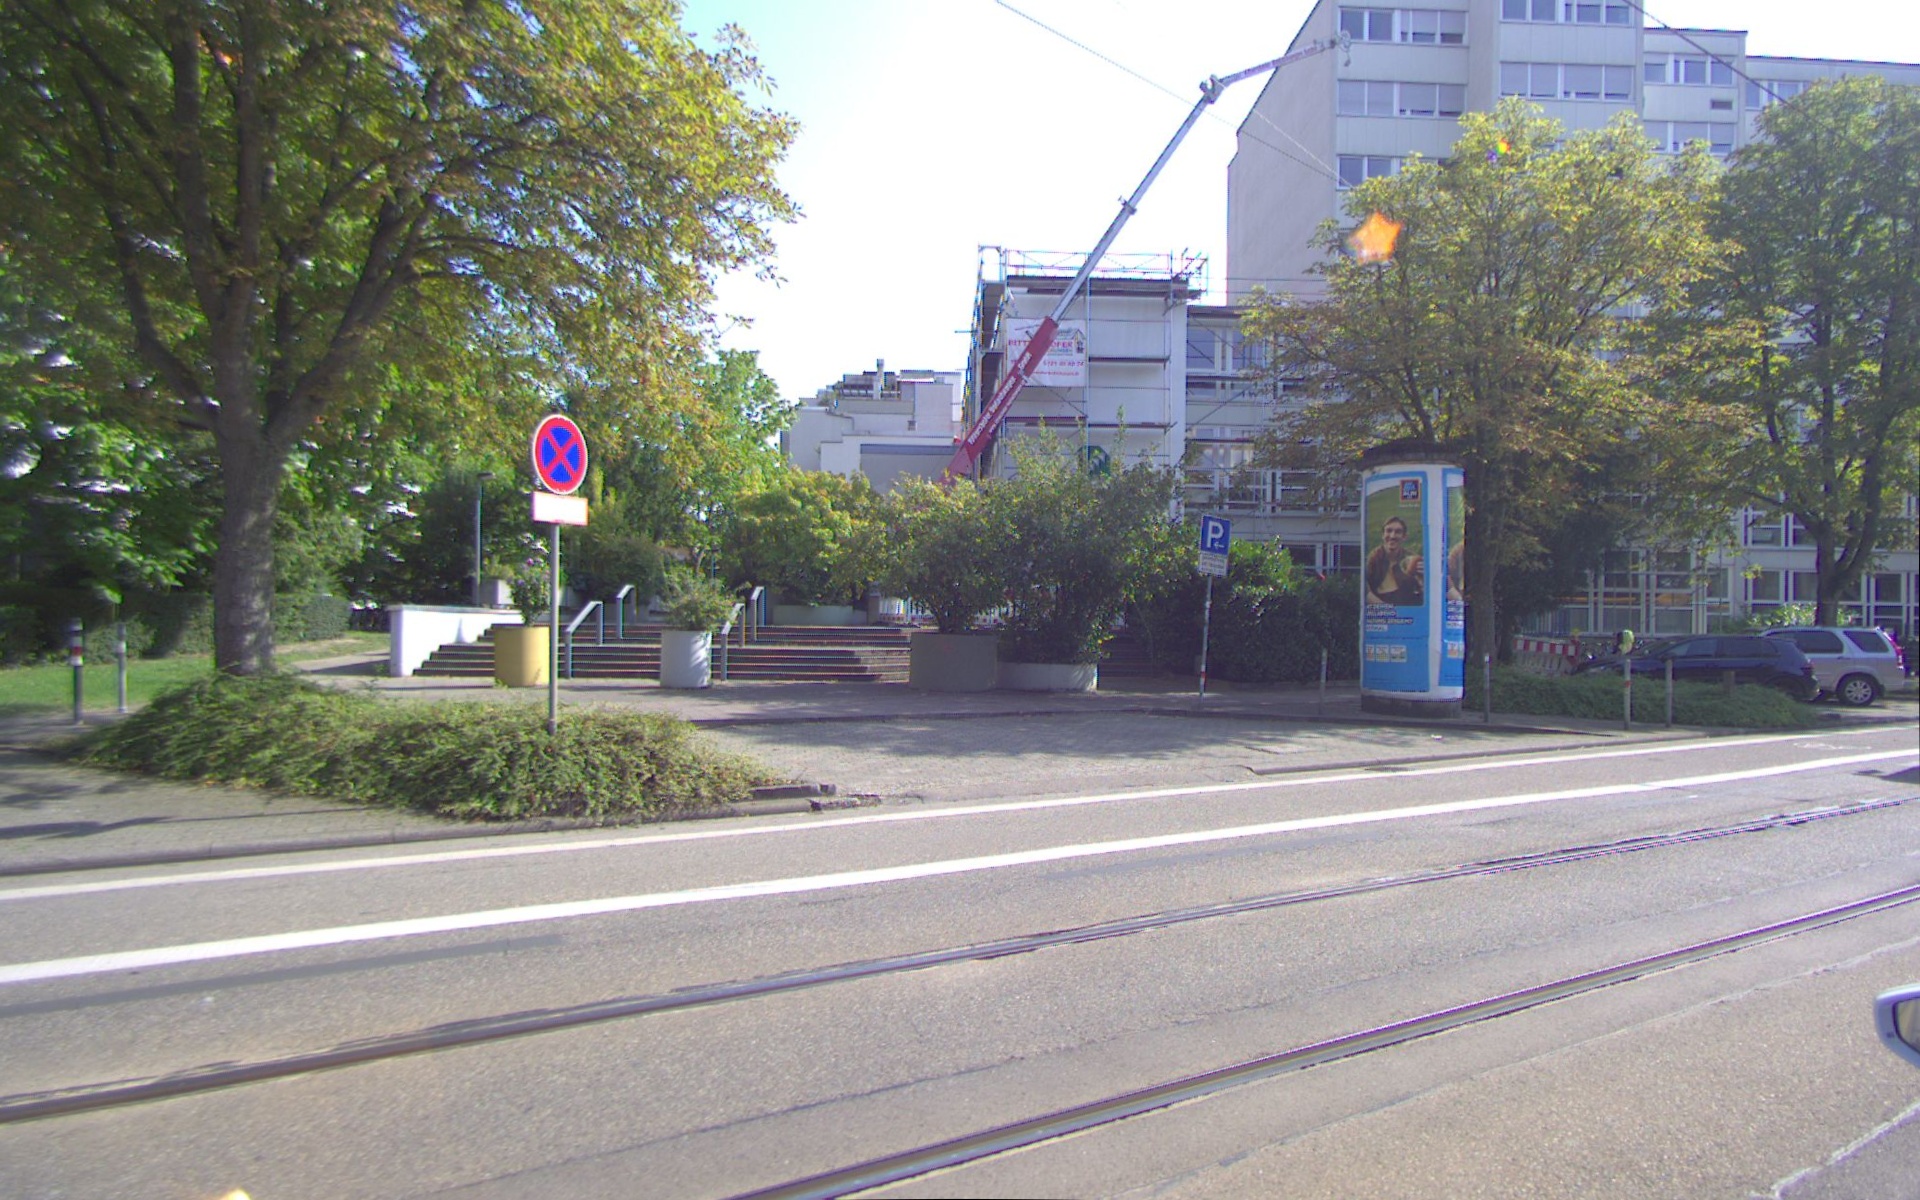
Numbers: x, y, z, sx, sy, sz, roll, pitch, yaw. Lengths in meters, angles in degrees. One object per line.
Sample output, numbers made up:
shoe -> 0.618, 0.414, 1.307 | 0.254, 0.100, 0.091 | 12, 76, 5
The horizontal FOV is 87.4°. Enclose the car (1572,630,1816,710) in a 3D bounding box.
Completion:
car -> 15.019, 1.396, 20.785 | 3.721, 1.461, 1.694 | 1, -1, 20

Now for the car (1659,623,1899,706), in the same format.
car -> 17.986, 1.375, 22.259 | 3.720, 1.643, 1.744 | 1, -1, 18

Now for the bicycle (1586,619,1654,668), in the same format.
bicycle -> 19.864, 1.283, 30.287 | 0.574, 1.399, 2.434 | 1, -1, 4
